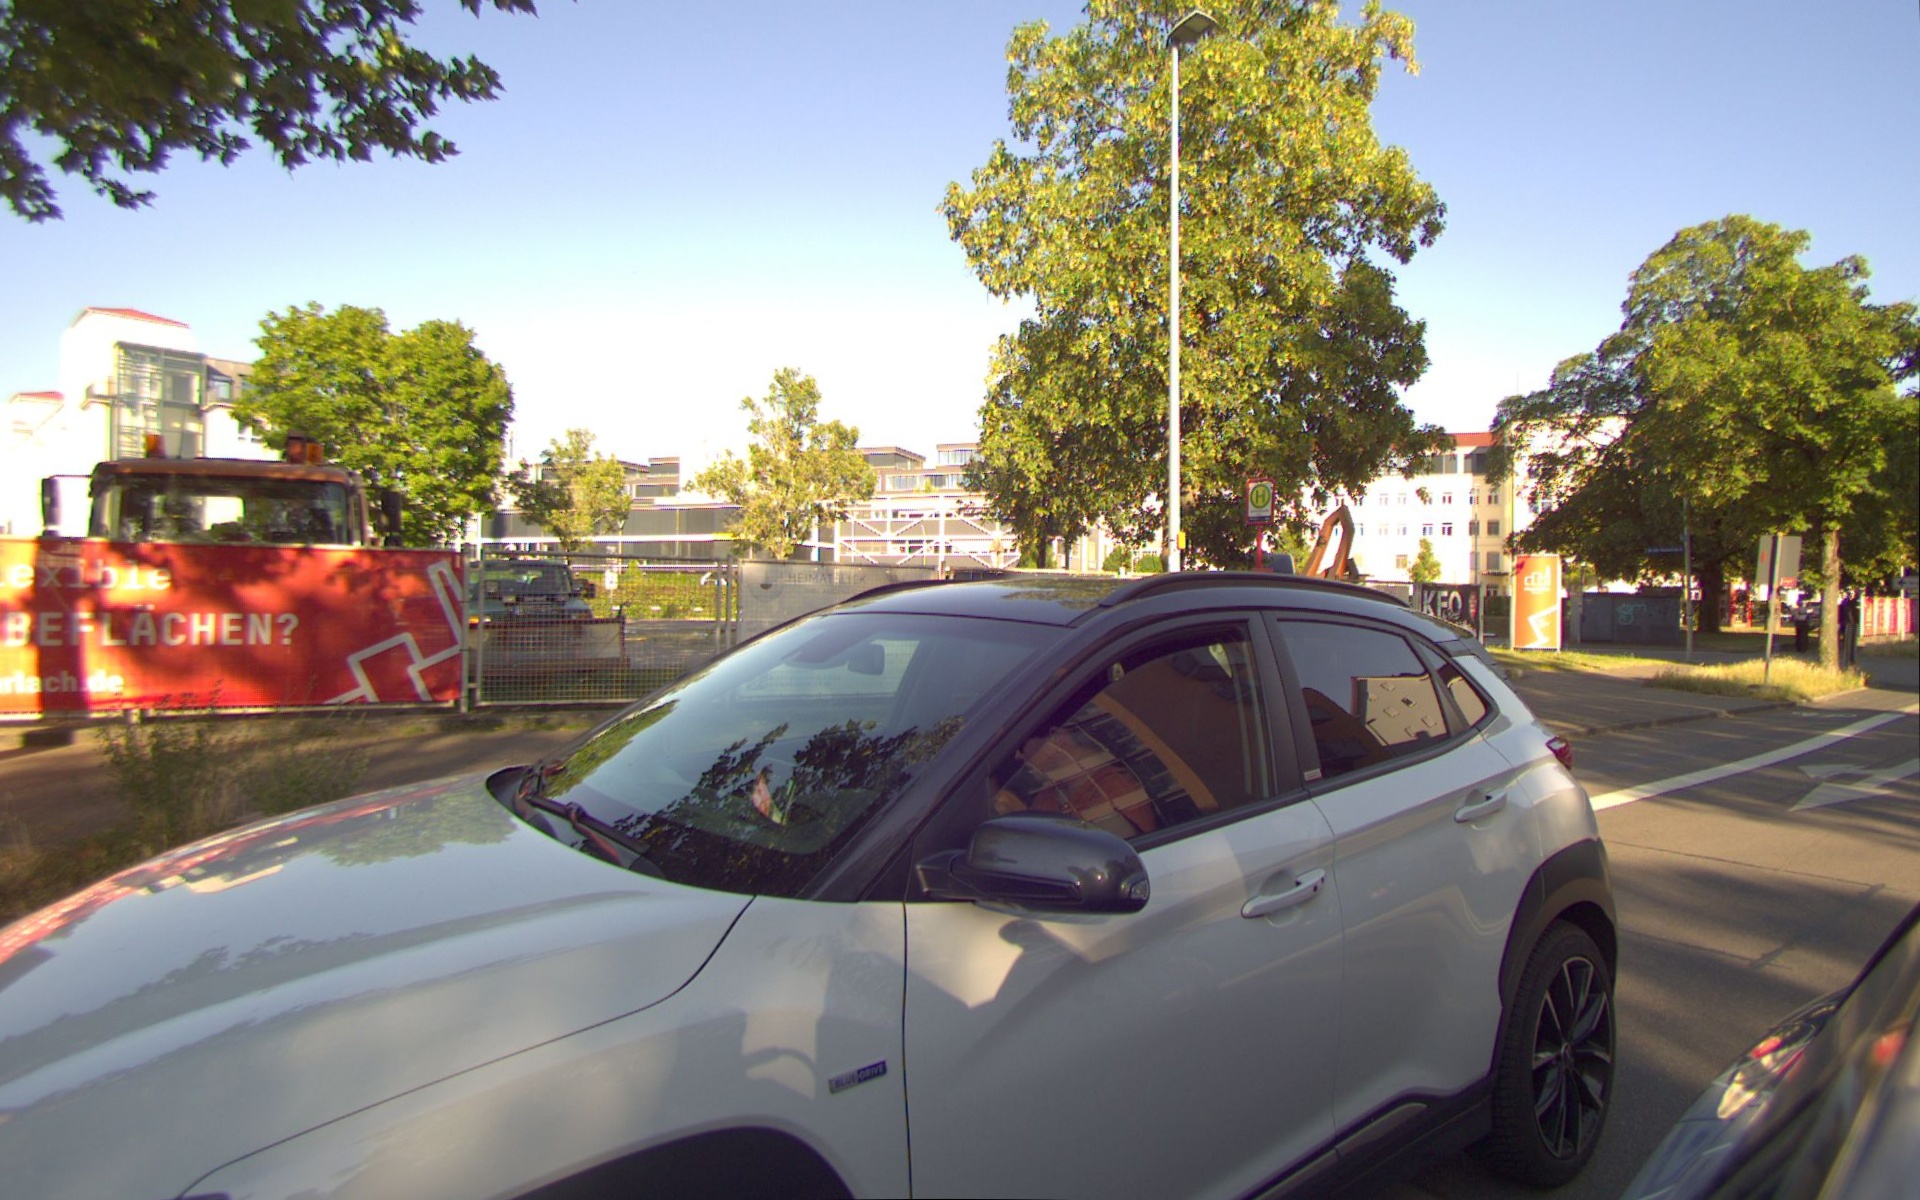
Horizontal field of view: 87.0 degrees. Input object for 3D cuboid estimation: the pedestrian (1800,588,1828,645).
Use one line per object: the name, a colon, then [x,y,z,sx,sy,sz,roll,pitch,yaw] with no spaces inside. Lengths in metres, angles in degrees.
pedestrian: [26.548,0.509,31.455,0.607,1.759,0.629,0,0,44]

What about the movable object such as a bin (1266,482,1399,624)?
movable object such as a bin: [15.527,-1.876,42.762,3.910,5.547,6.022,0,0,6]

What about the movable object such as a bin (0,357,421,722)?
movable object such as a bin: [-8.386,-0.545,12.055,3.154,3.087,6.295,0,0,-31]

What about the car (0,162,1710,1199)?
car: [0.046,0.582,2.401,3.893,1.618,1.894,3,-2,-39]

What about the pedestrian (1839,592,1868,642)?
pedestrian: [30.698,0.561,34.766,0.692,1.689,0.630,0,0,38]

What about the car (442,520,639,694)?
car: [-5.663,0.048,13.294,2.001,1.851,4.612,0,0,-28]

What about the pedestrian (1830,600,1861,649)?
pedestrian: [26.742,0.721,30.557,0.627,1.452,0.609,0,0,-40]
